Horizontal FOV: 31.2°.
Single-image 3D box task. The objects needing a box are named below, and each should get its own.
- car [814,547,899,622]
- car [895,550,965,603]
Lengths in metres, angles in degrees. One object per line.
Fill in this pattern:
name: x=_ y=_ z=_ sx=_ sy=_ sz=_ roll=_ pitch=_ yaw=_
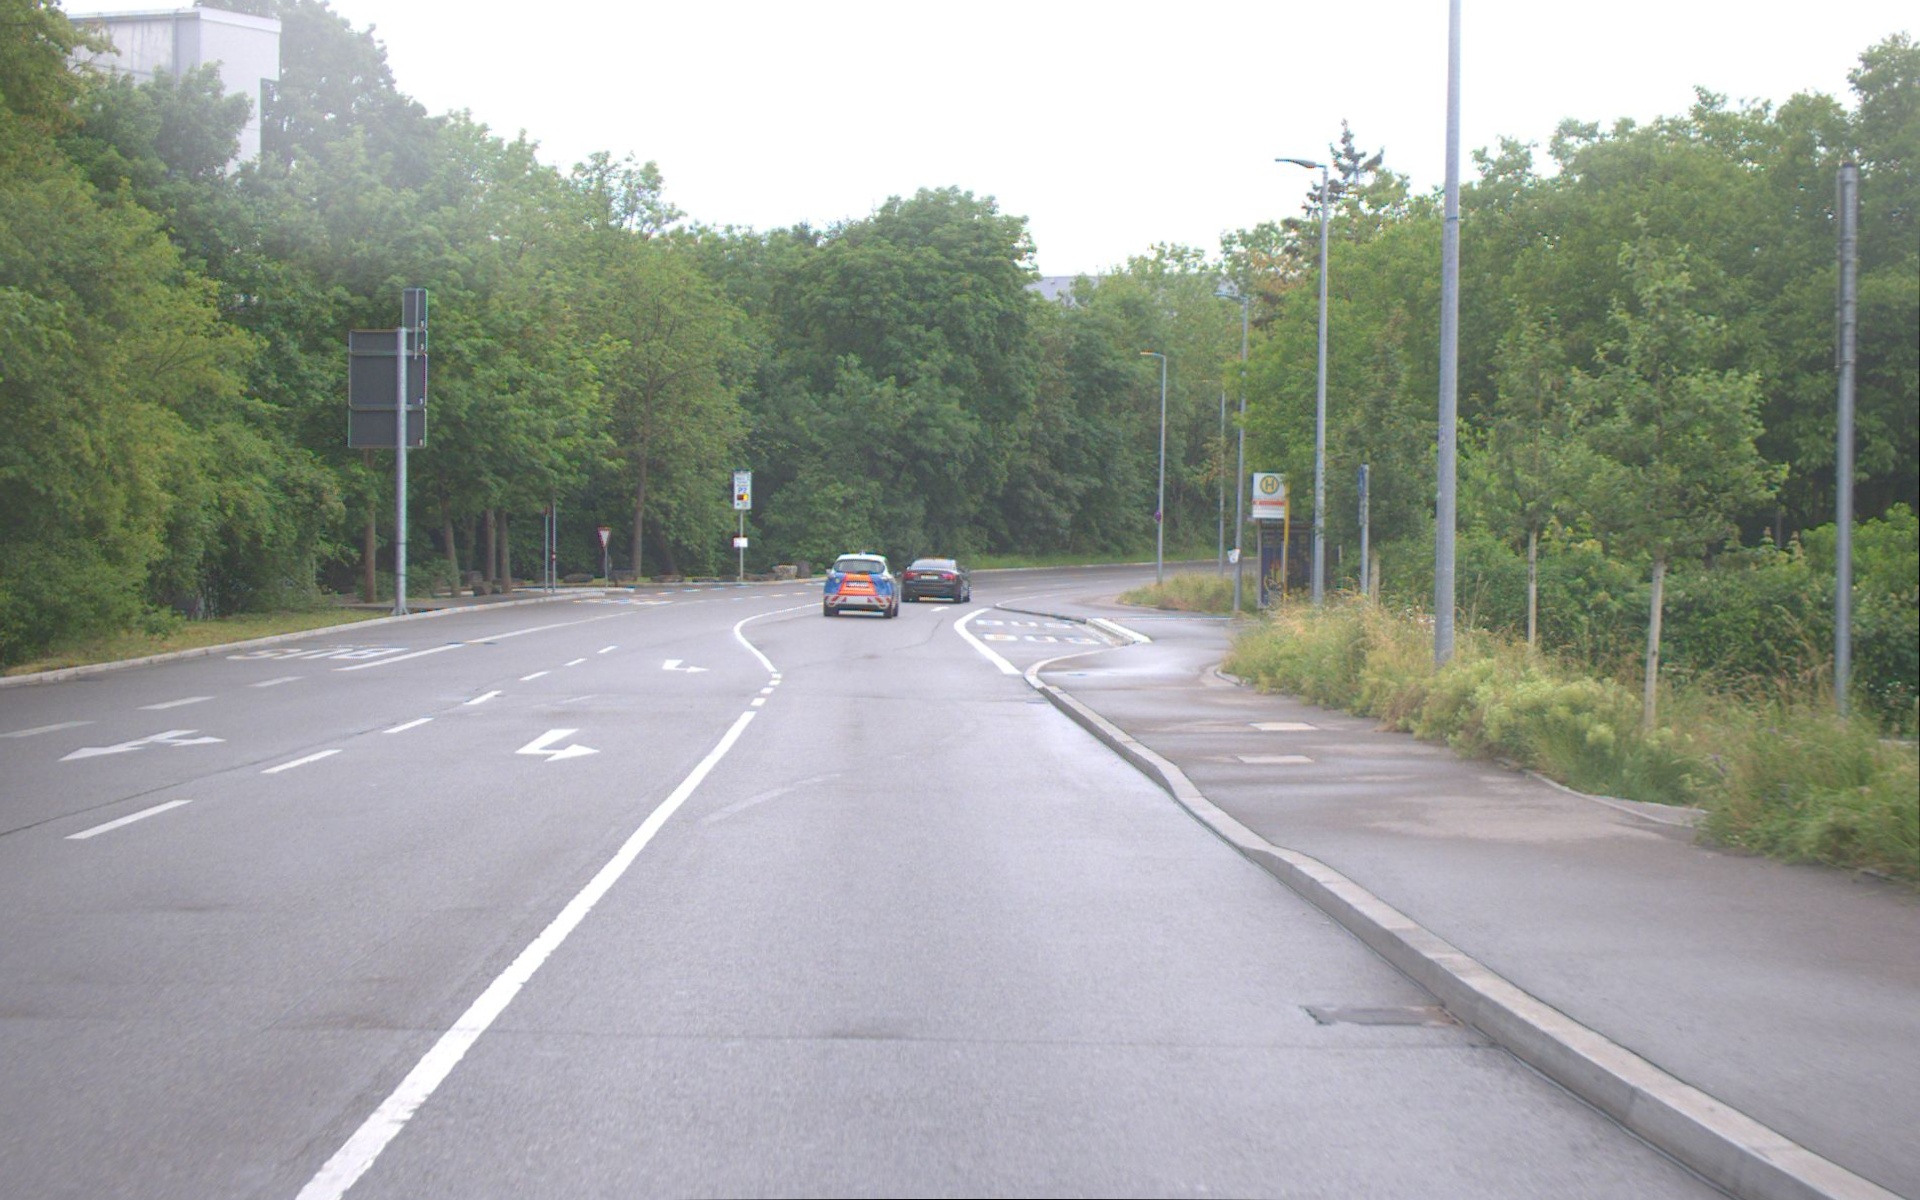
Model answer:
car: x=-2.552 y=-0.412 z=85.911 sx=1.993 sy=1.683 sz=4.001 roll=0 pitch=3 yaw=0
car: x=-0.906 y=-0.738 z=105.898 sx=1.927 sy=1.481 sz=3.800 roll=0 pitch=3 yaw=3
